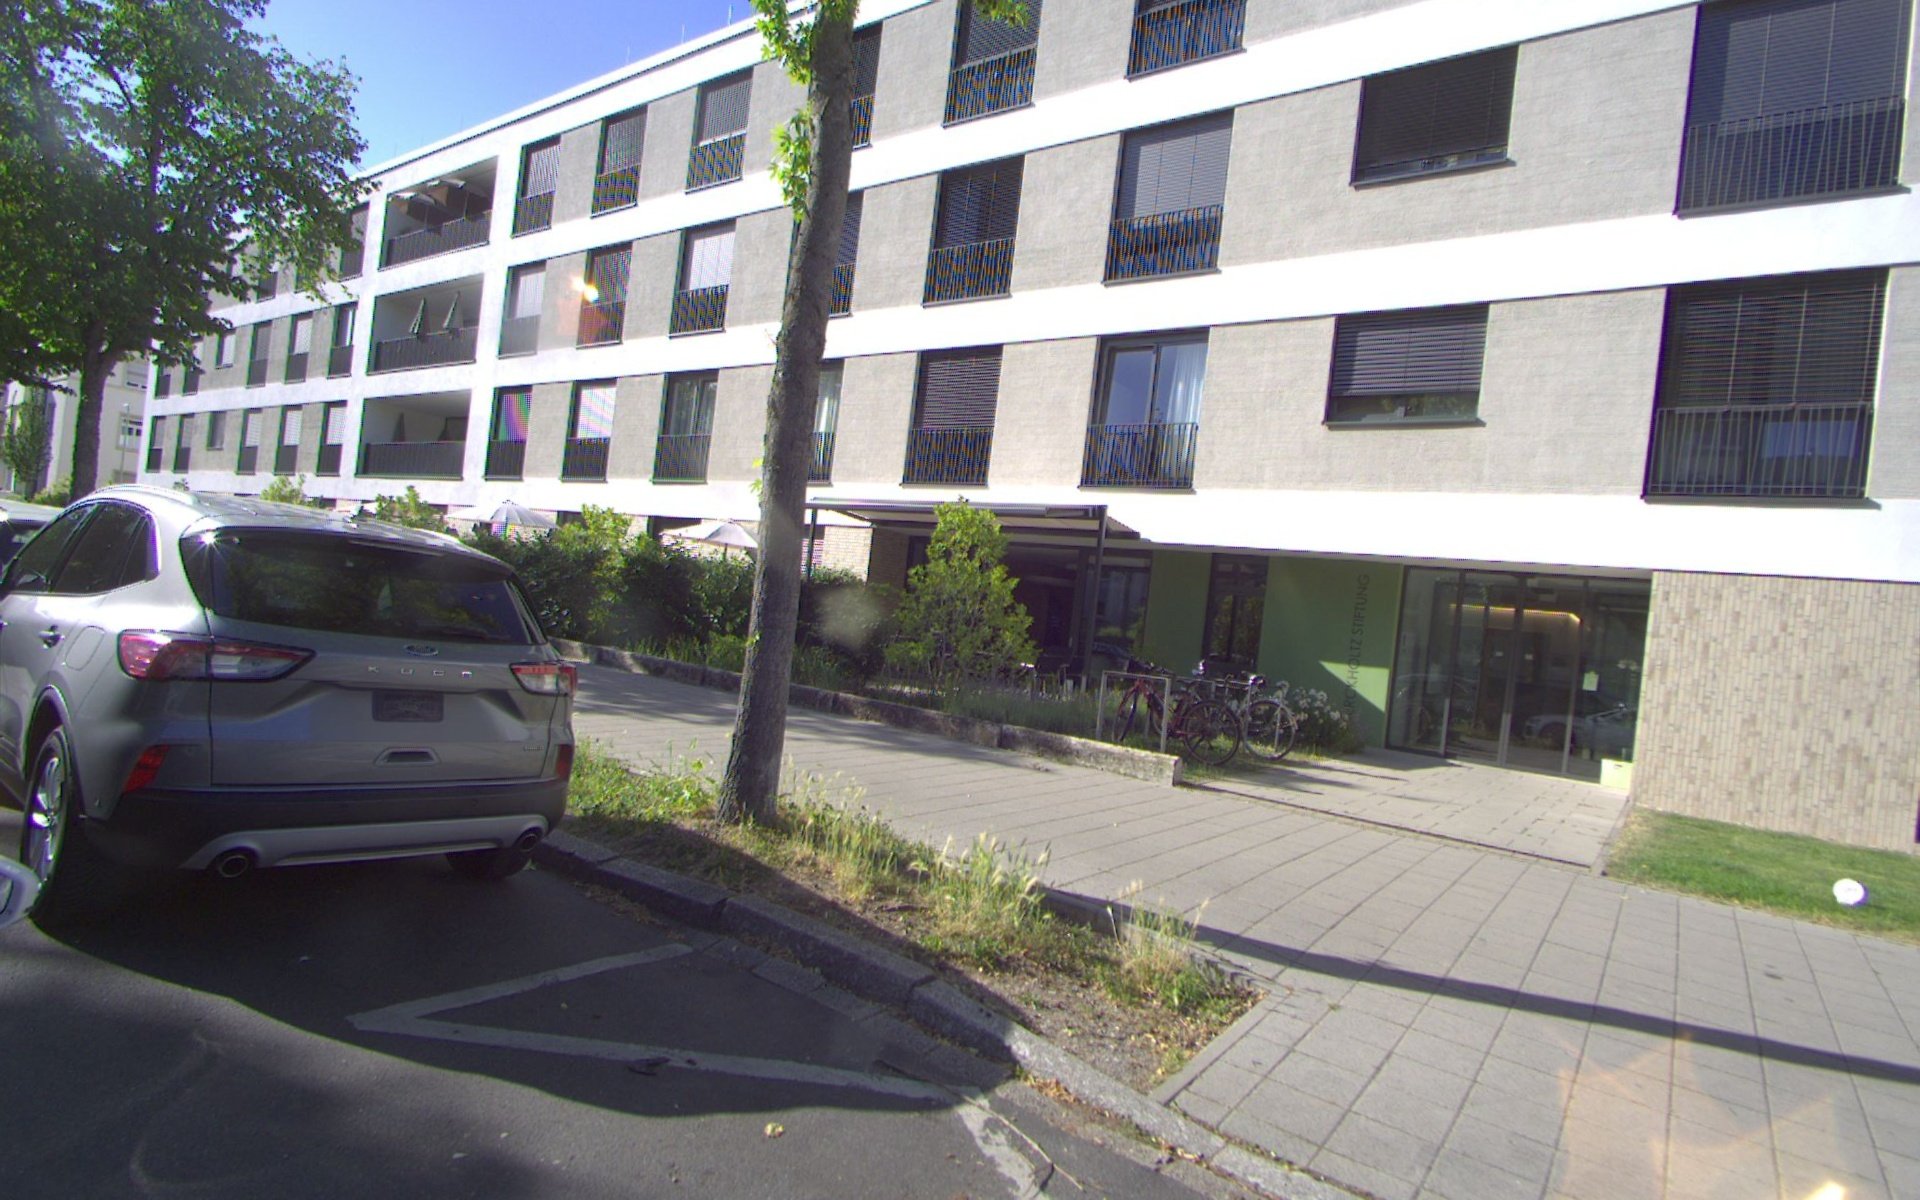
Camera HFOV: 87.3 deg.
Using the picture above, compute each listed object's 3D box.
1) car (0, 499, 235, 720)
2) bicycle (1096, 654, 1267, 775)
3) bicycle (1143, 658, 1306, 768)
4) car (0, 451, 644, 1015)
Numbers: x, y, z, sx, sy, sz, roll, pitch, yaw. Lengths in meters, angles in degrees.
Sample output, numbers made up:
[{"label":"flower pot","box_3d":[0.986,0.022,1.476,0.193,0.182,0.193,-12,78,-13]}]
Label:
[{"label":"car","box_3d":[-8.077,-0.046,8.540,3.935,1.541,1.696,6,-2,33]},{"label":"bicycle","box_3d":[2.422,1.229,11.097,1.665,1.068,0.546,6,0,34]},{"label":"bicycle","box_3d":[3.191,1.341,12.219,1.752,1.068,0.546,6,0,34]},{"label":"car","box_3d":[-3.725,0.336,5.016,4.346,1.649,1.848,5,-2,38]}]
